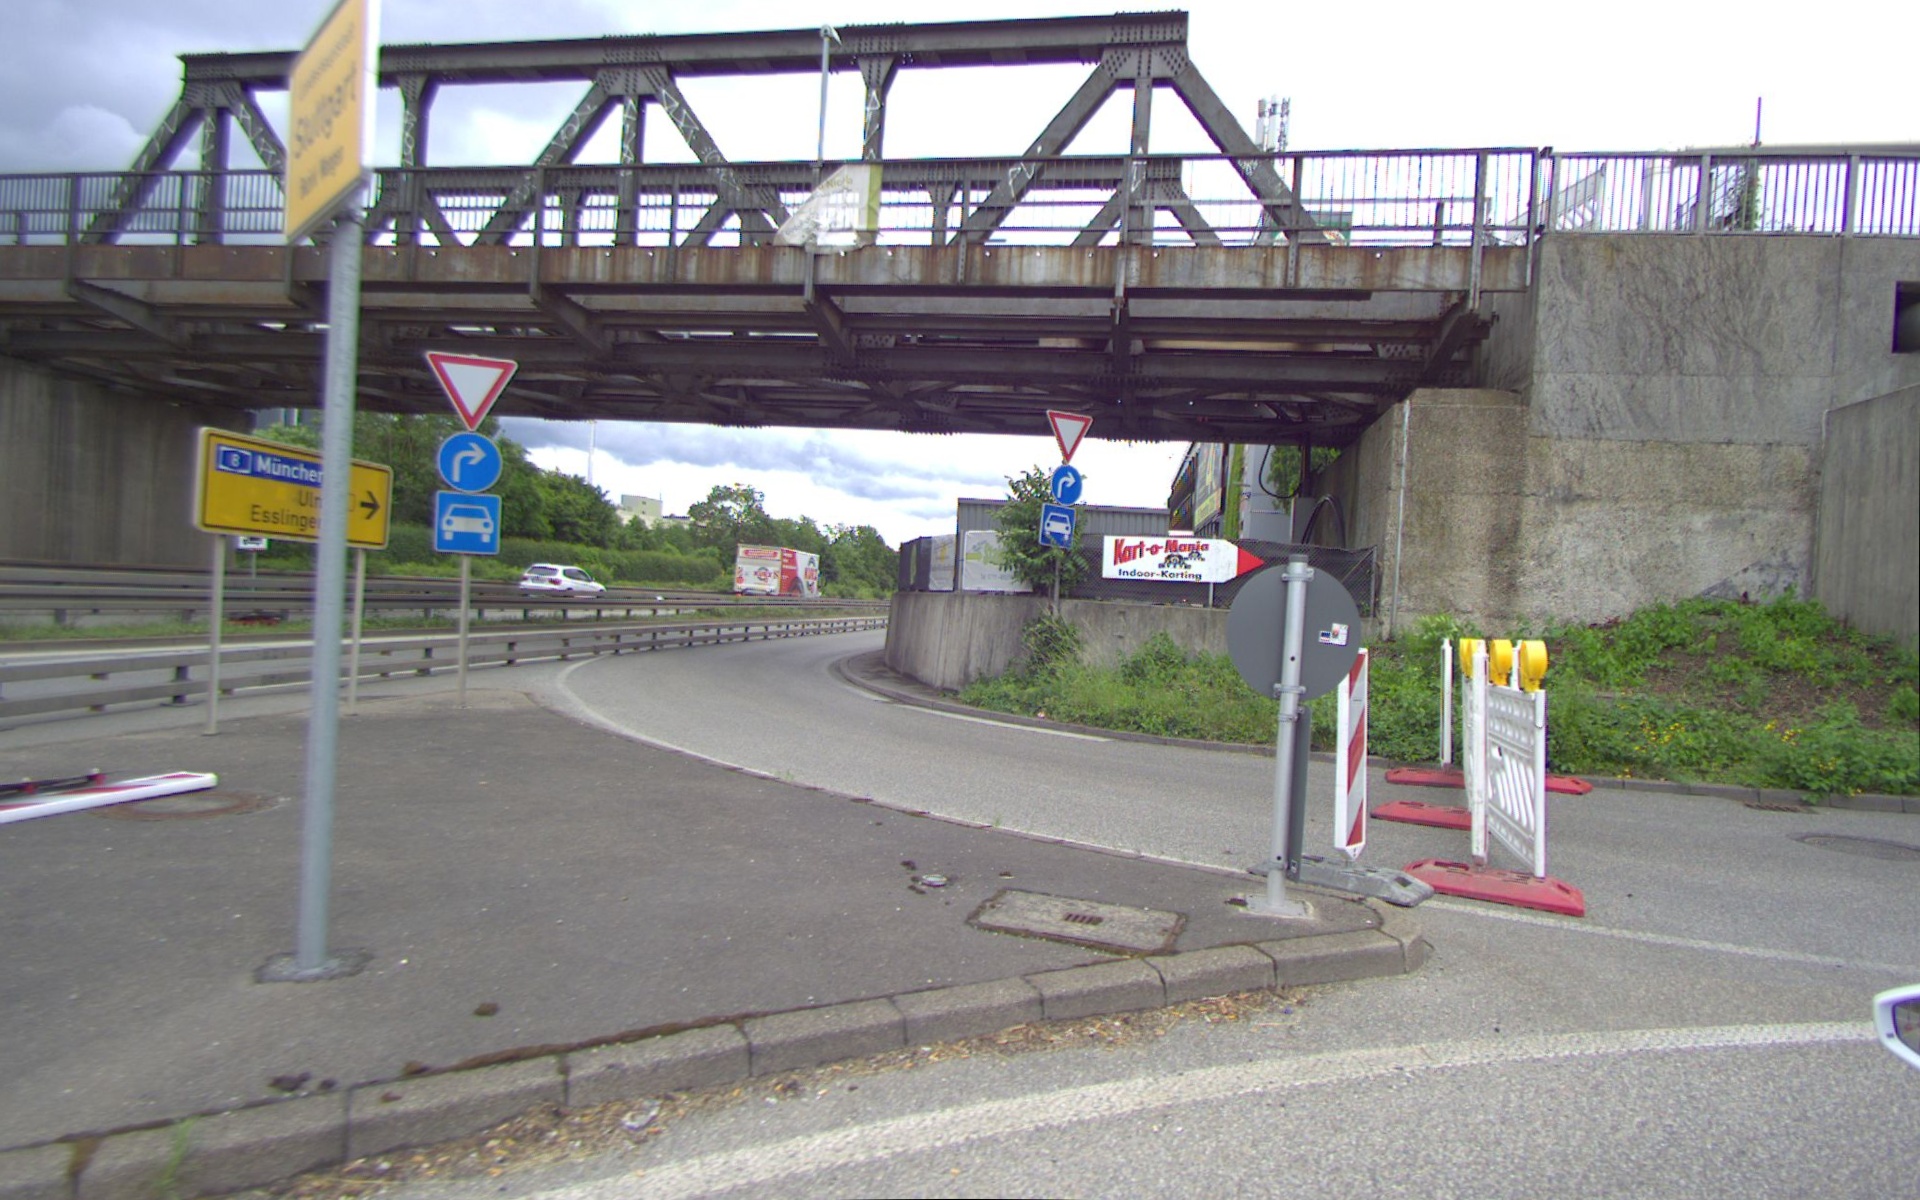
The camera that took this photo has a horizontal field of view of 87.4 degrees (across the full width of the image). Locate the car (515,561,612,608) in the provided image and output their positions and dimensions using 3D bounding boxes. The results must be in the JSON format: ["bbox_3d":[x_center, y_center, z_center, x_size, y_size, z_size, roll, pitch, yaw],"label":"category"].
[{"bbox_3d":[-16.350,-0.599,41.653,1.823,1.661,4.294,5,0,6],"label":"car"}]

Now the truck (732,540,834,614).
[{"bbox_3d":[-9.972,-1.164,58.099,2.903,3.677,10.160,4,0,6],"label":"truck"}]

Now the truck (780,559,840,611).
[{"bbox_3d":[-11.628,-1.074,78.384,2.944,3.603,7.743,3,-1,3],"label":"truck"}]
